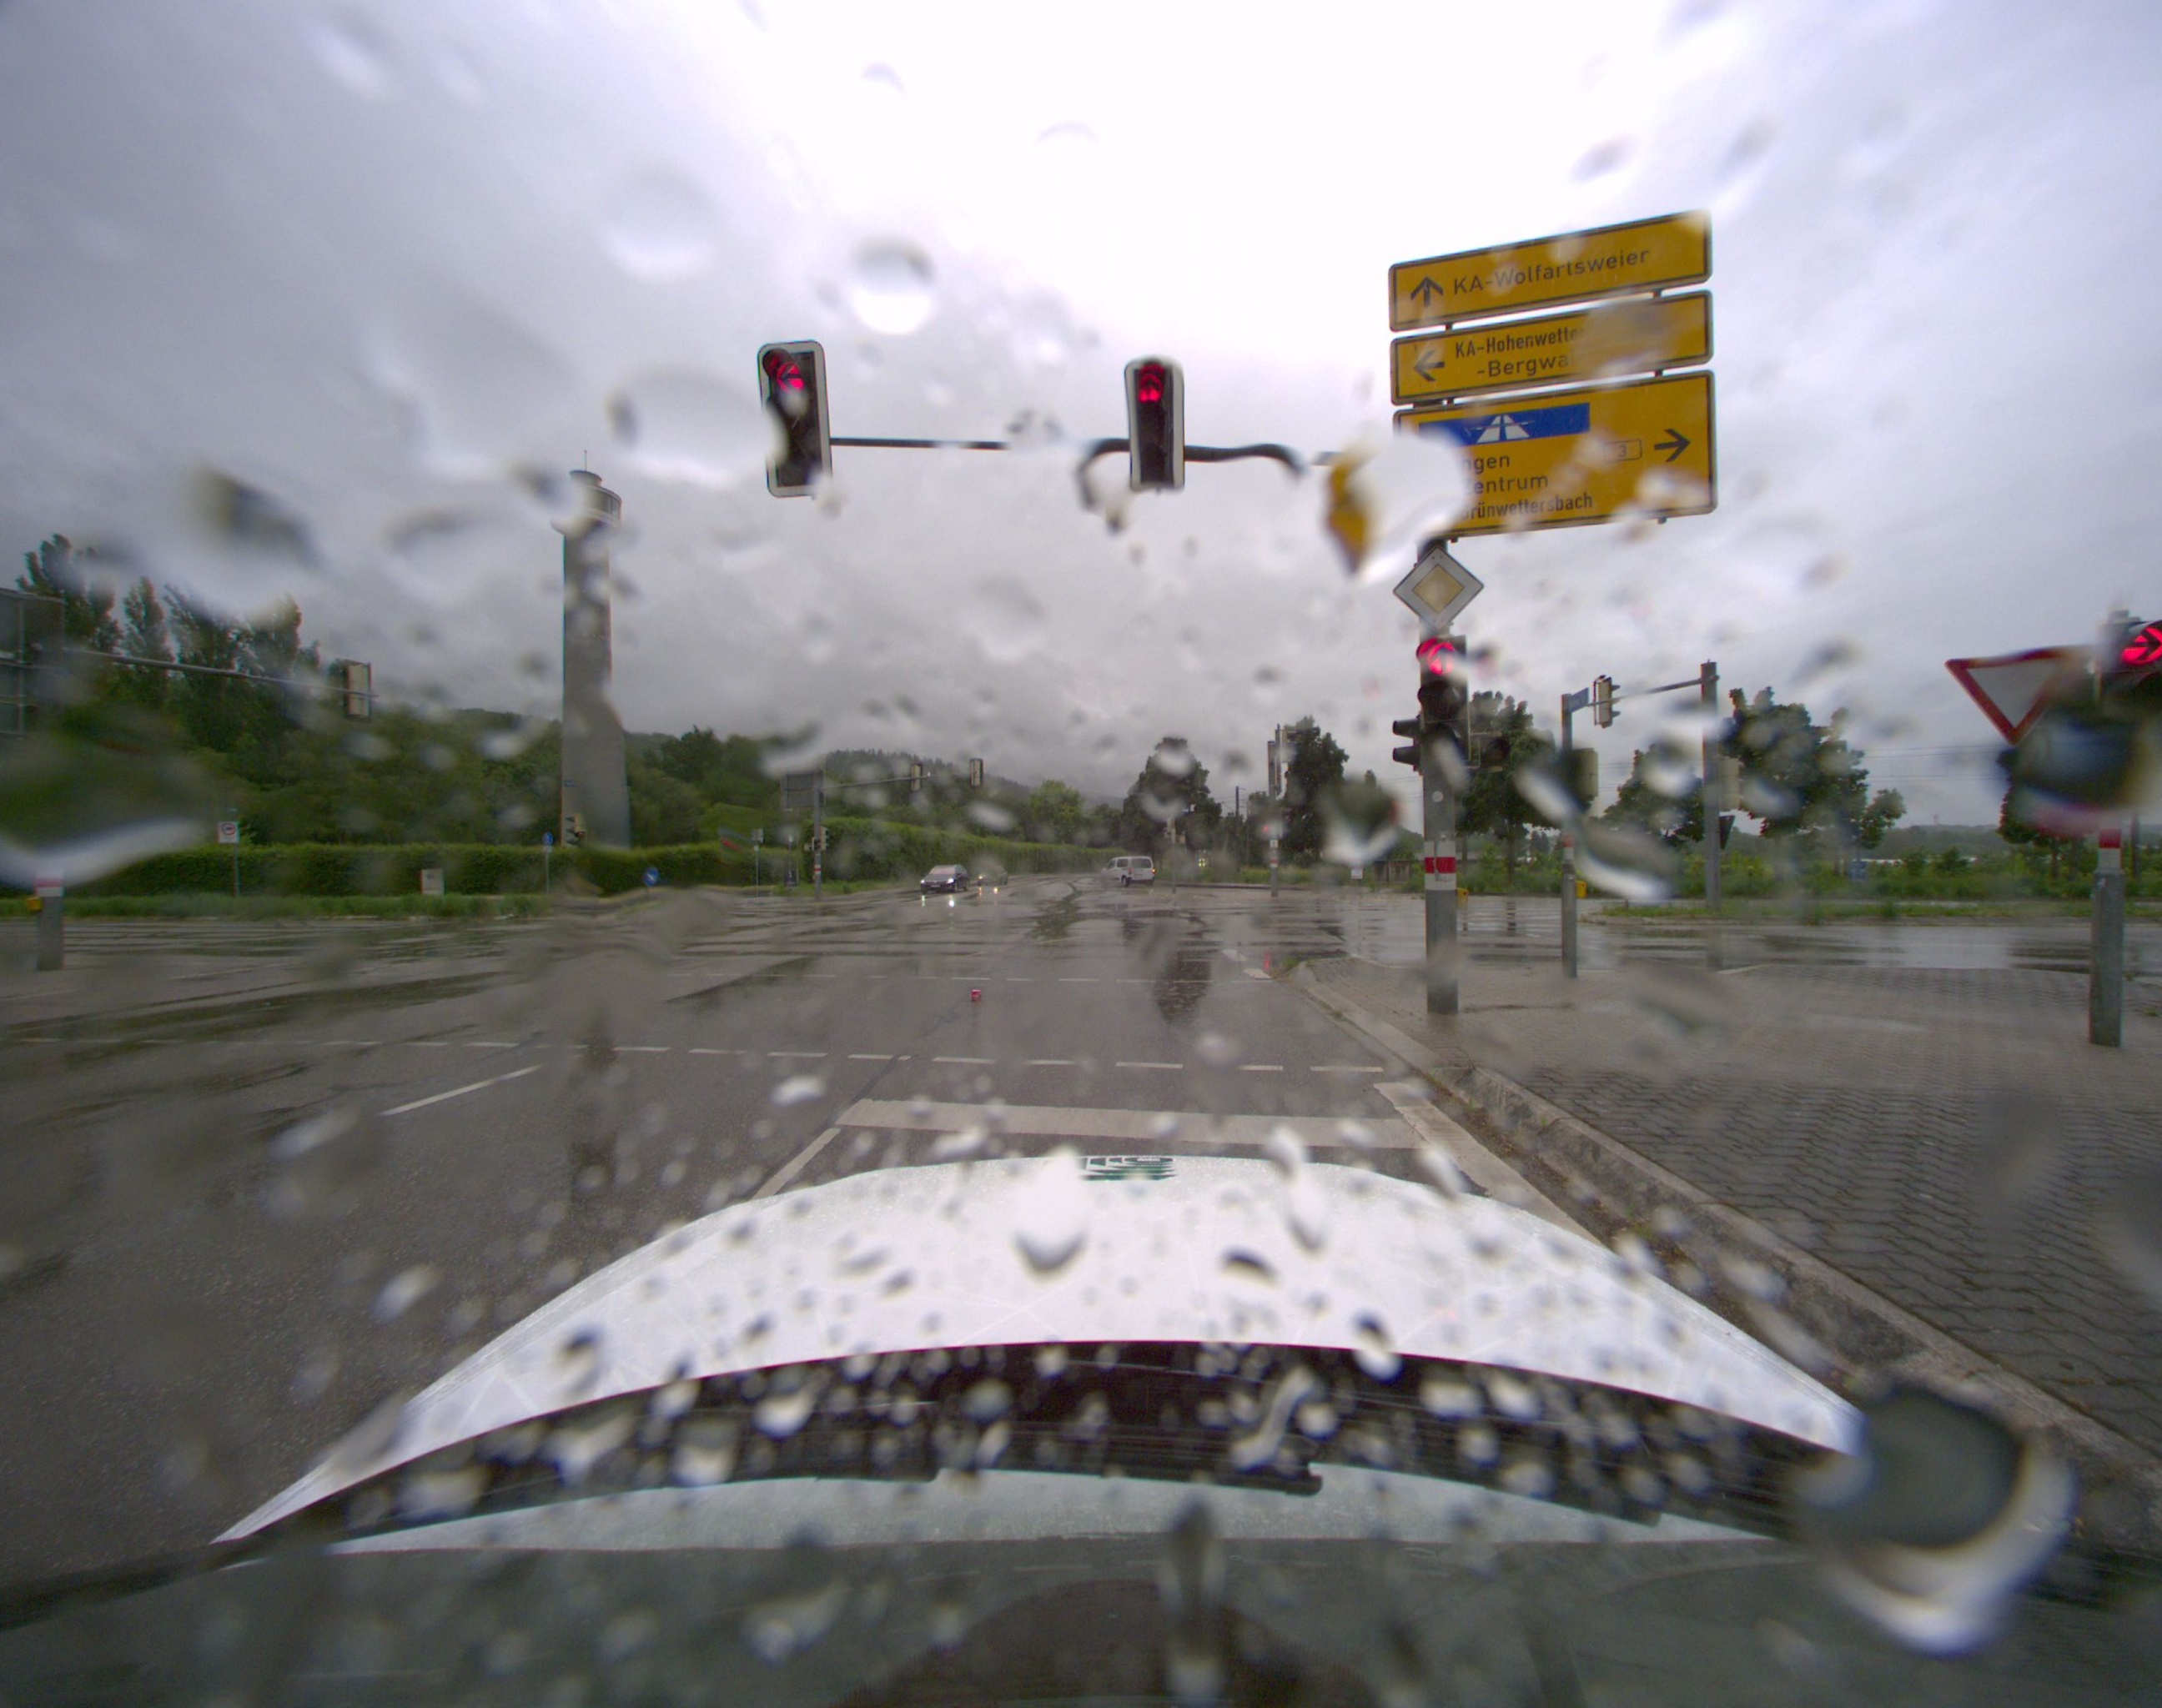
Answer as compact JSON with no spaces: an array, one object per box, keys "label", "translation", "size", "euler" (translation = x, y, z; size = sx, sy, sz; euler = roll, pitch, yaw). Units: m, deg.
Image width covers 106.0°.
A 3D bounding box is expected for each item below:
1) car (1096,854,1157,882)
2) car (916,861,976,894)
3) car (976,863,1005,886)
[{"label":"car","translation":[2.657,0.824,48.972],"size":[1.826,1.553,4.312],"euler":[-1,0,-25]},{"label":"car","translation":[-7.218,1.214,43.938],"size":[1.869,1.573,4.654],"euler":[-3,-1,7]},{"label":"car","translation":[-6.392,1.437,57.839],"size":[1.552,1.481,3.363],"euler":[-2,0,2]}]
